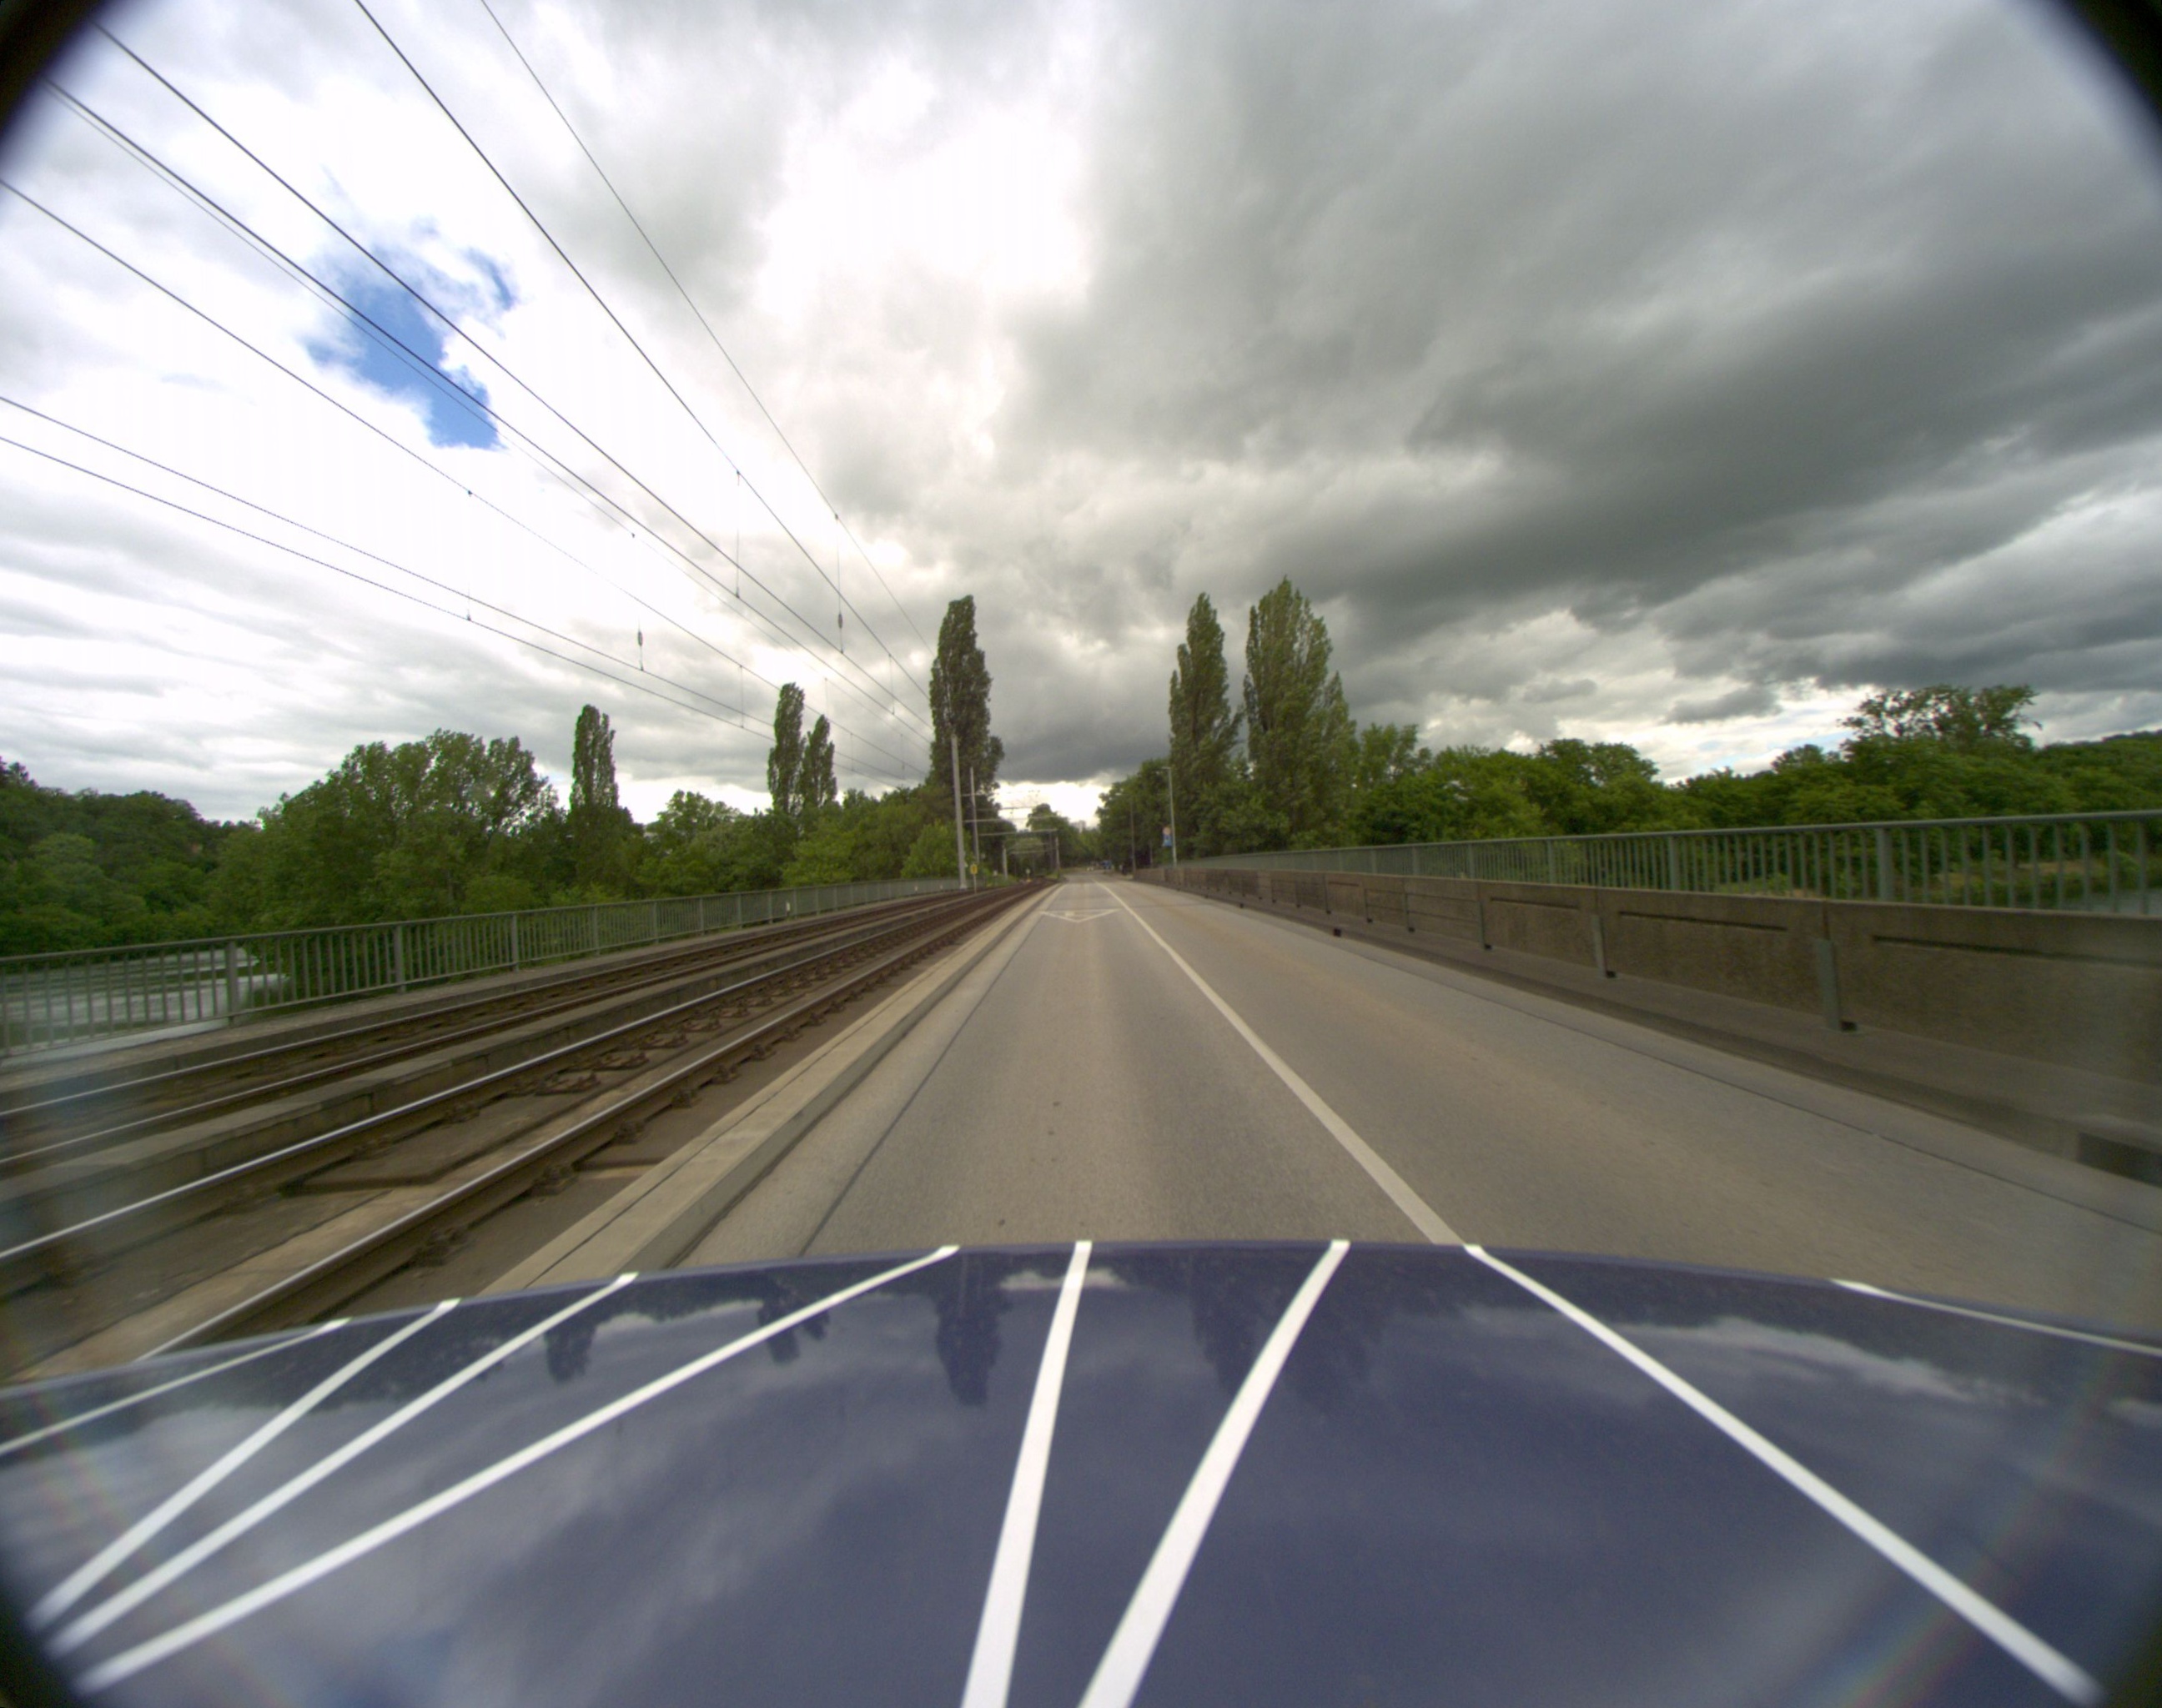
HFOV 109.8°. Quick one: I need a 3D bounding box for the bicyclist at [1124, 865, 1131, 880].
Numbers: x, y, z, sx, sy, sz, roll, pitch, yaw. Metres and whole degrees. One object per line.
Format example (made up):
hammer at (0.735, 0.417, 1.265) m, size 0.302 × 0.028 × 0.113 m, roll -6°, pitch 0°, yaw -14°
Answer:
bicyclist at (6.029, 2.418, 98.979) m, size 0.688 × 1.936 × 0.835 m, roll -4°, pitch 0°, yaw -4°
